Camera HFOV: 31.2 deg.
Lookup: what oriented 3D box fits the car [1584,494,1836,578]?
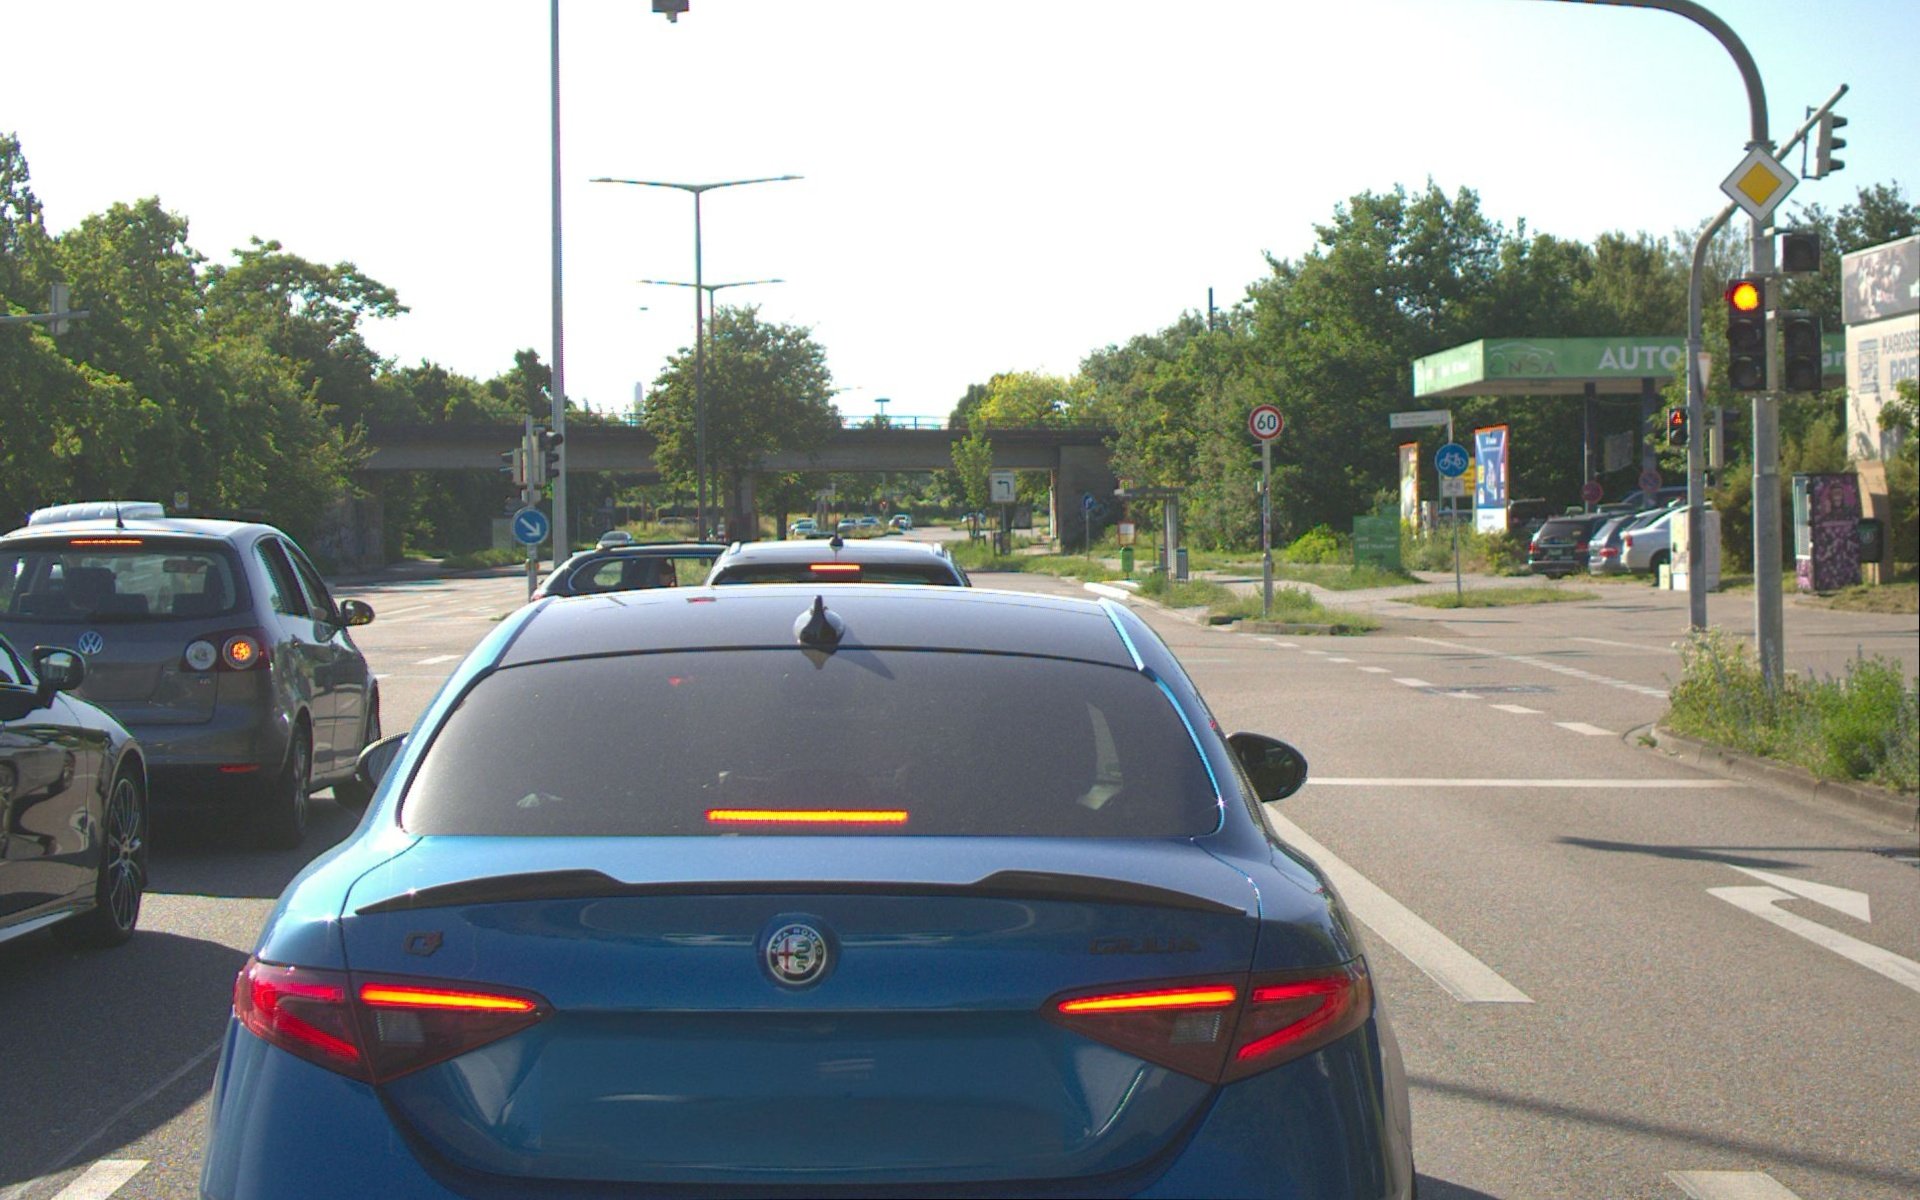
[{"bbox_3d":[14.652,-1.249,67.342,4.489,1.449,1.858,-2,1,1],"label":"car"}]

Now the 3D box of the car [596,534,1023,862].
[{"bbox_3d":[-0.721,0.407,17.233,1.850,1.413,4.403,1,1,-2],"label":"car"}]

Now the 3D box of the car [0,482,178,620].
[{"bbox_3d":[-16.873,-0.947,66.715,2.022,2.439,5.822,-4,1,-1],"label":"car"}]

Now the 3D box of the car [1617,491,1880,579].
[{"bbox_3d":[14.769,-1.210,64.563,4.489,1.449,1.858,-2,1,1],"label":"car"}]

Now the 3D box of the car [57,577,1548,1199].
[{"bbox_3d":[-0.265,0.683,6.600,1.895,1.413,4.403,1,1,-2],"label":"car"}]

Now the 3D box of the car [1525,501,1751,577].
[{"bbox_3d":[14.588,-1.313,74.147,4.489,1.449,1.858,-2,1,1],"label":"car"}]

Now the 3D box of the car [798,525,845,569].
[{"bbox_3d":[-5.875,-2.251,146.219,1.891,1.809,4.000,1,1,-1],"label":"car"}]

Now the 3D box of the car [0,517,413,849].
[{"bbox_3d":[-3.997,0.350,17.709,1.759,1.485,4.403,1,1,-2],"label":"car"}]

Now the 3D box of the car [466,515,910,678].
[{"bbox_3d":[-2.786,-0.045,35.885,4.411,1.485,1.765,-2,1,1],"label":"car"}]

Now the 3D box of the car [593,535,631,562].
[{"bbox_3d":[-20.279,-3.023,200.593,1.759,1.485,4.478,-2,1,0],"label":"car"}]

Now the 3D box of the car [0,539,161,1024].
[{"bbox_3d":[-3.832,0.544,10.610,1.796,1.485,4.476,1,1,-2],"label":"car"}]

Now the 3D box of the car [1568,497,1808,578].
[{"bbox_3d":[14.809,-1.265,70.096,4.489,1.449,1.858,-2,1,1],"label":"car"}]

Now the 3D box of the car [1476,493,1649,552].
[{"bbox_3d":[17.035,-2.194,97.310,4.551,1.485,1.765,-2,1,1],"label":"car"}]
